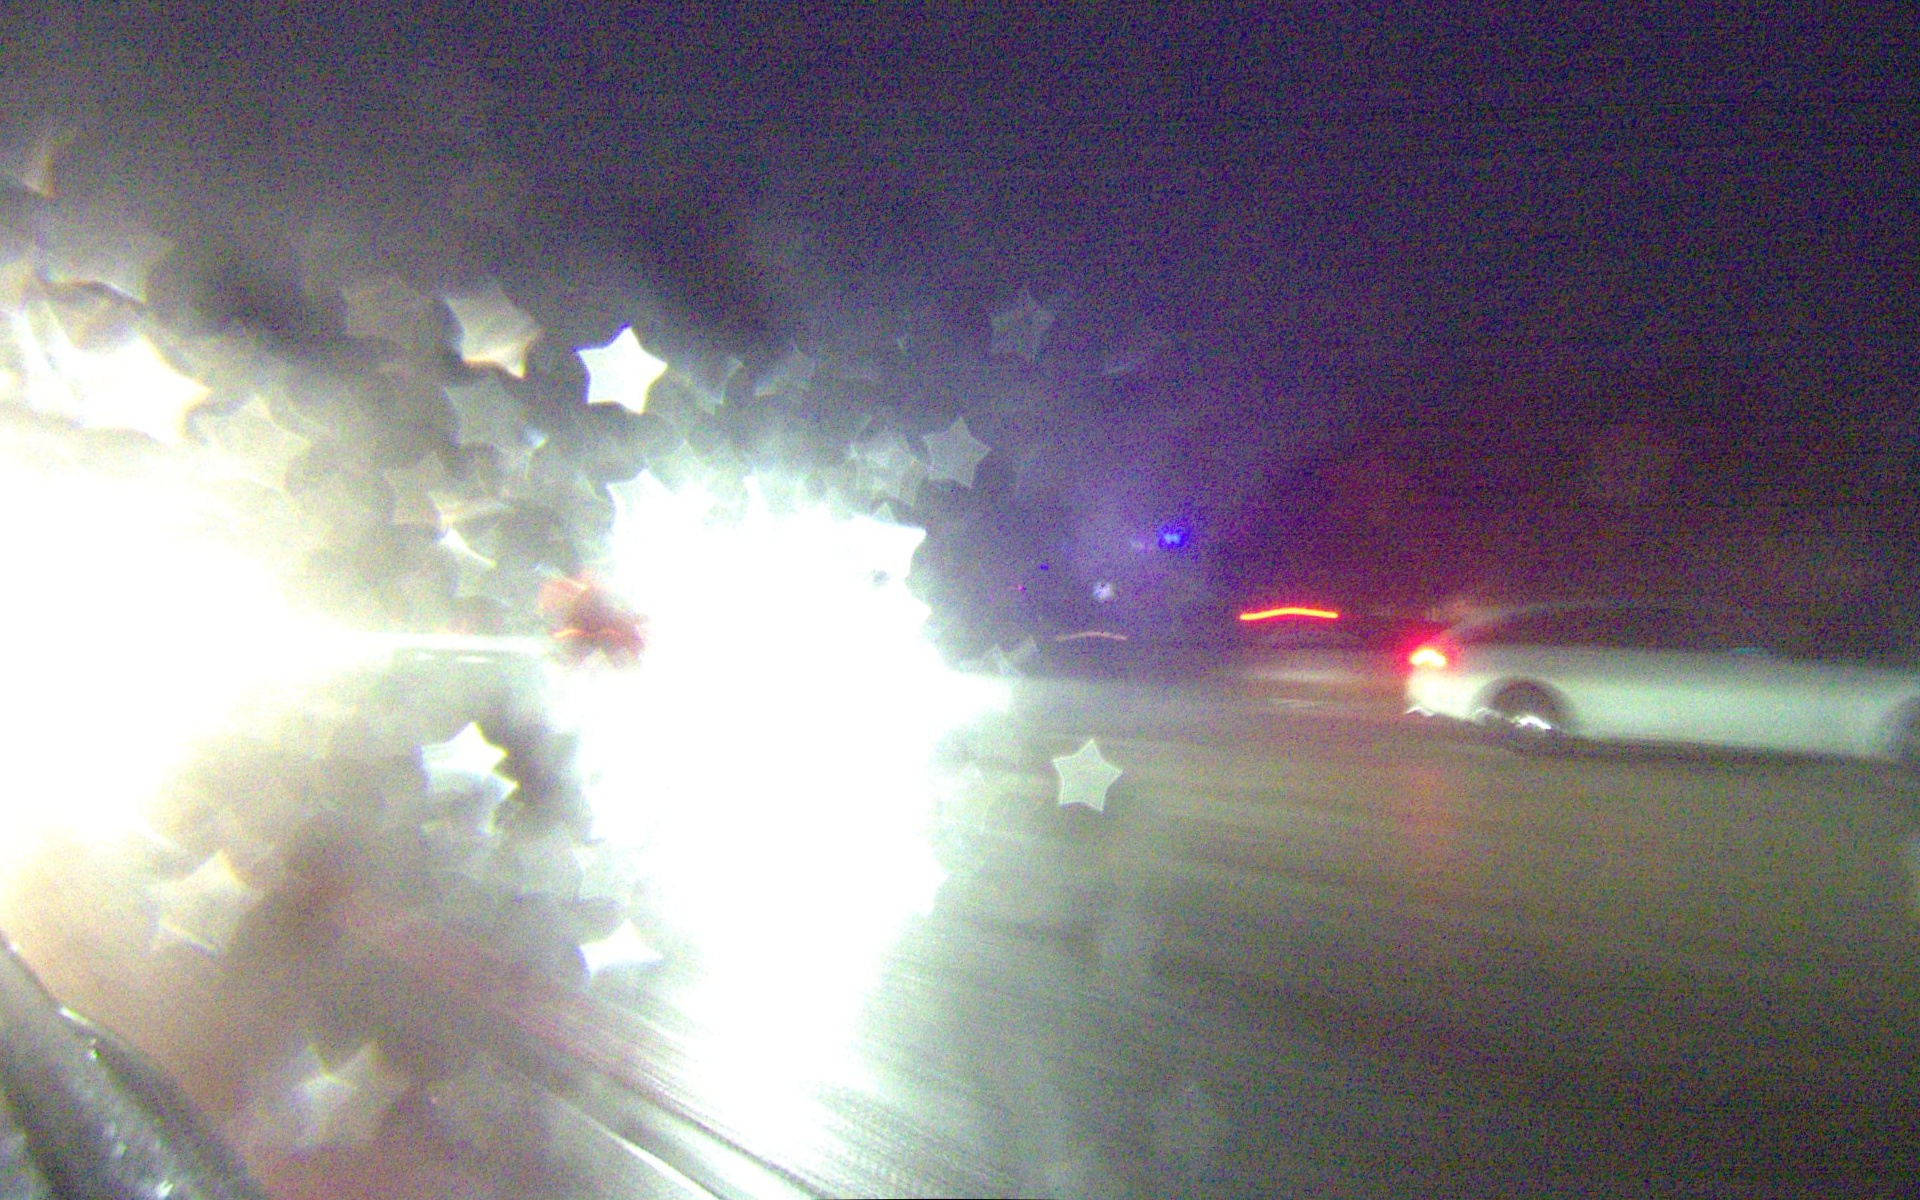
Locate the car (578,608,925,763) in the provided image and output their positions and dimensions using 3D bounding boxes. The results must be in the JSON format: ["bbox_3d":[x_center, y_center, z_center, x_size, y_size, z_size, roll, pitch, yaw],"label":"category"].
[{"bbox_3d":[-2.538,0.854,11.822,3.999,1.452,1.972,-1,0,42],"label":"car"}]

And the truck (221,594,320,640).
[{"bbox_3d":[-63.267,1.513,92.551,17.176,3.917,3.462,-1,0,42],"label":"truck"}]

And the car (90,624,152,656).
[{"bbox_3d":[-45.878,2.166,55.296,4.587,1.572,1.972,-1,0,42],"label":"car"}]

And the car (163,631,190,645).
[{"bbox_3d":[-99.711,4.843,128.832,4.458,1.569,1.860,-1,0,41],"label":"car"}]

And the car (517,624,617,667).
[{"bbox_3d":[-15.884,1.804,40.815,4.458,1.569,1.860,-1,0,41],"label":"car"}]

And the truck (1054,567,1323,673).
[{"bbox_3d":[5.560,0.464,25.421,6.435,2.365,1.973,-1,0,41],"label":"truck"}]

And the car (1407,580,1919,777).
[{"bbox_3d":[7.032,0.590,9.107,5.161,1.487,1.973,-1,0,40],"label":"car"}]
